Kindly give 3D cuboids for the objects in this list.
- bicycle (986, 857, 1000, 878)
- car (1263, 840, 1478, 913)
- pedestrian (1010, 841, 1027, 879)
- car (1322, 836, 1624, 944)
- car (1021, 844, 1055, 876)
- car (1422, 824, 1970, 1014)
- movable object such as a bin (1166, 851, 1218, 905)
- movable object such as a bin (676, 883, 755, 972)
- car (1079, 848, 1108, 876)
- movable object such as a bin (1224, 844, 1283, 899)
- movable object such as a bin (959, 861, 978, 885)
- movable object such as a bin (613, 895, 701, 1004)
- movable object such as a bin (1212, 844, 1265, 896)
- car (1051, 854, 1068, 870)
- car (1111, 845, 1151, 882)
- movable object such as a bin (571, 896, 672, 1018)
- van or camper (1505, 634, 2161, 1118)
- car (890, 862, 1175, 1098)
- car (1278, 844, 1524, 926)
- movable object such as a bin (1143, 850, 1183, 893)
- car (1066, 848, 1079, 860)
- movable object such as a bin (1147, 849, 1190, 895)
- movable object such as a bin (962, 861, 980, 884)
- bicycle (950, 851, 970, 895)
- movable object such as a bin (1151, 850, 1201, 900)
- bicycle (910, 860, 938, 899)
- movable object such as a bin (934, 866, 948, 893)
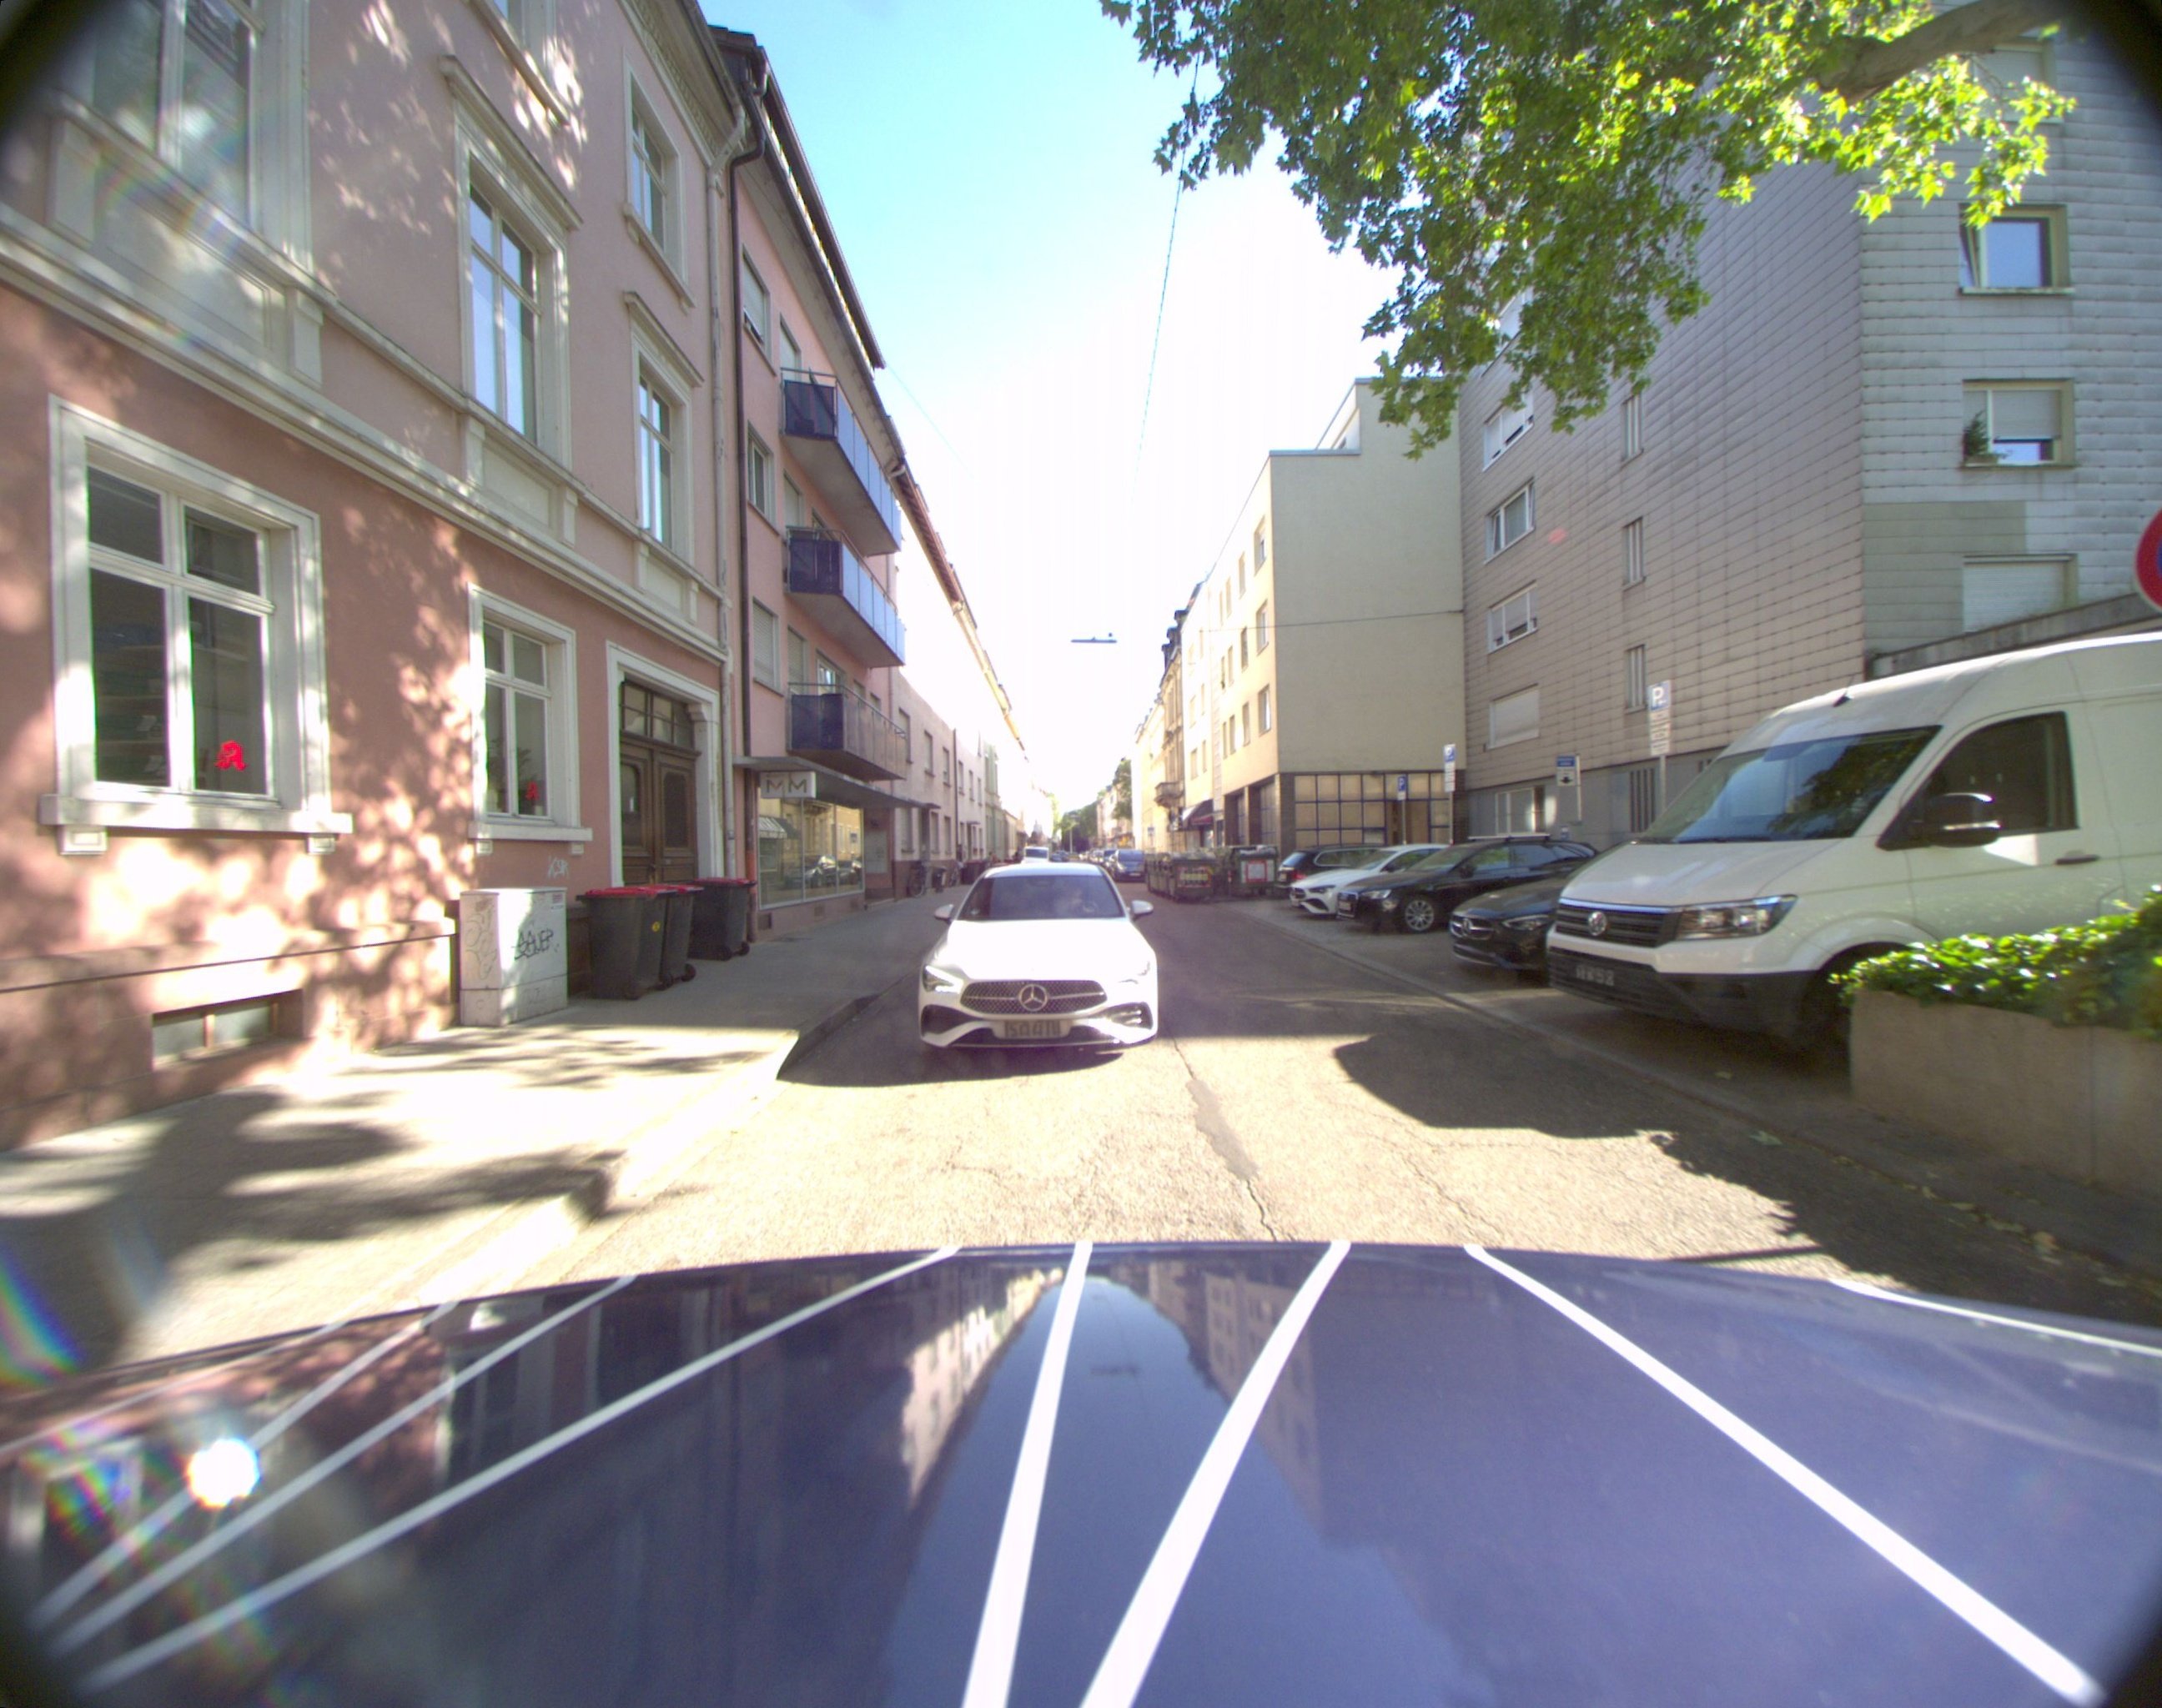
[{"bbox_3d":[-4.787,0.742,41.559,0.490,1.089,1.932,-1,1,1],"label":"bicycle"},{"bbox_3d":[6.711,0.493,17.858,4.417,1.524,1.698,-1,0,-6],"label":"car"},{"bbox_3d":[-3.327,0.330,40.382,0.761,2.002,0.771,-1,1,0],"label":"pedestrian"},{"bbox_3d":[6.636,0.560,13.093,4.417,1.607,1.698,-1,1,-6],"label":"car"},{"bbox_3d":[-2.618,0.342,47.483,1.765,1.843,4.327,-1,0,1],"label":"car"},{"bbox_3d":[6.236,0.608,8.056,4.415,1.524,1.698,-4,1,-1],"label":"car"},{"bbox_3d":[3.164,0.652,21.910,1.241,1.492,1.877,0,1,0],"label":"movable object such as a bin"},{"bbox_3d":[-4.759,0.945,9.928,0.718,1.078,0.618,2,1,-2],"label":"movable object such as a bin"},{"bbox_3d":[0.815,0.466,49.245,1.765,1.698,4.327,-1,0,1],"label":"car"},{"bbox_3d":[4.819,0.477,21.355,1.328,1.492,1.195,-1,1,-2],"label":"movable object such as a bin"},{"bbox_3d":[-4.935,0.819,33.303,0.717,0.996,0.546,2,1,-2],"label":"movable object such as a bin"},{"bbox_3d":[-4.448,0.984,8.007,0.570,1.052,0.612,2,1,-2],"label":"movable object such as a bin"},{"bbox_3d":[4.689,0.458,22.745,1.222,1.492,1.517,-1,1,-2],"label":"movable object such as a bin"},{"bbox_3d":[-2.391,0.861,85.749,1.765,1.698,4.327,-1,0,0],"label":"car"},{"bbox_3d":[2.459,0.444,38.121,1.765,1.698,4.327,-1,0,1],"label":"car"},{"bbox_3d":[-4.439,0.974,7.371,0.570,1.078,0.654,2,1,-2],"label":"movable object such as a bin"},{"bbox_3d":[7.064,-0.035,5.307,6.922,2.559,2.000,-4,0,1],"label":"van or camper"},{"bbox_3d":[-0.298,0.871,7.352,1.862,1.448,4.562,-2,0,1],"label":"car"},{"bbox_3d":[6.482,0.596,15.618,4.417,1.454,1.599,-1,0,-6],"label":"car"},{"bbox_3d":[2.955,0.612,27.665,1.222,1.492,1.560,-1,1,-2],"label":"movable object such as a bin"},{"bbox_3d":[-1.223,0.051,111.388,1.765,1.698,4.327,-1,0,0],"label":"car"},{"bbox_3d":[2.968,0.593,26.071,1.222,1.492,1.560,-1,1,-2],"label":"movable object such as a bin"},{"bbox_3d":[-4.924,0.834,33.922,0.717,0.996,0.546,2,1,-2],"label":"movable object such as a bin"},{"bbox_3d":[-4.992,0.748,31.399,0.402,1.725,2.107,-1,1,1],"label":"bicycle"},{"bbox_3d":[2.999,0.632,24.204,1.247,1.492,1.925,-1,1,-2],"label":"movable object such as a bin"},{"bbox_3d":[-4.899,0.773,23.838,0.402,1.144,2.025,-1,1,1],"label":"bicycle"},{"bbox_3d":[-4.859,0.877,26.363,0.416,0.935,0.302,2,1,-2],"label":"movable object such as a bin"}]
